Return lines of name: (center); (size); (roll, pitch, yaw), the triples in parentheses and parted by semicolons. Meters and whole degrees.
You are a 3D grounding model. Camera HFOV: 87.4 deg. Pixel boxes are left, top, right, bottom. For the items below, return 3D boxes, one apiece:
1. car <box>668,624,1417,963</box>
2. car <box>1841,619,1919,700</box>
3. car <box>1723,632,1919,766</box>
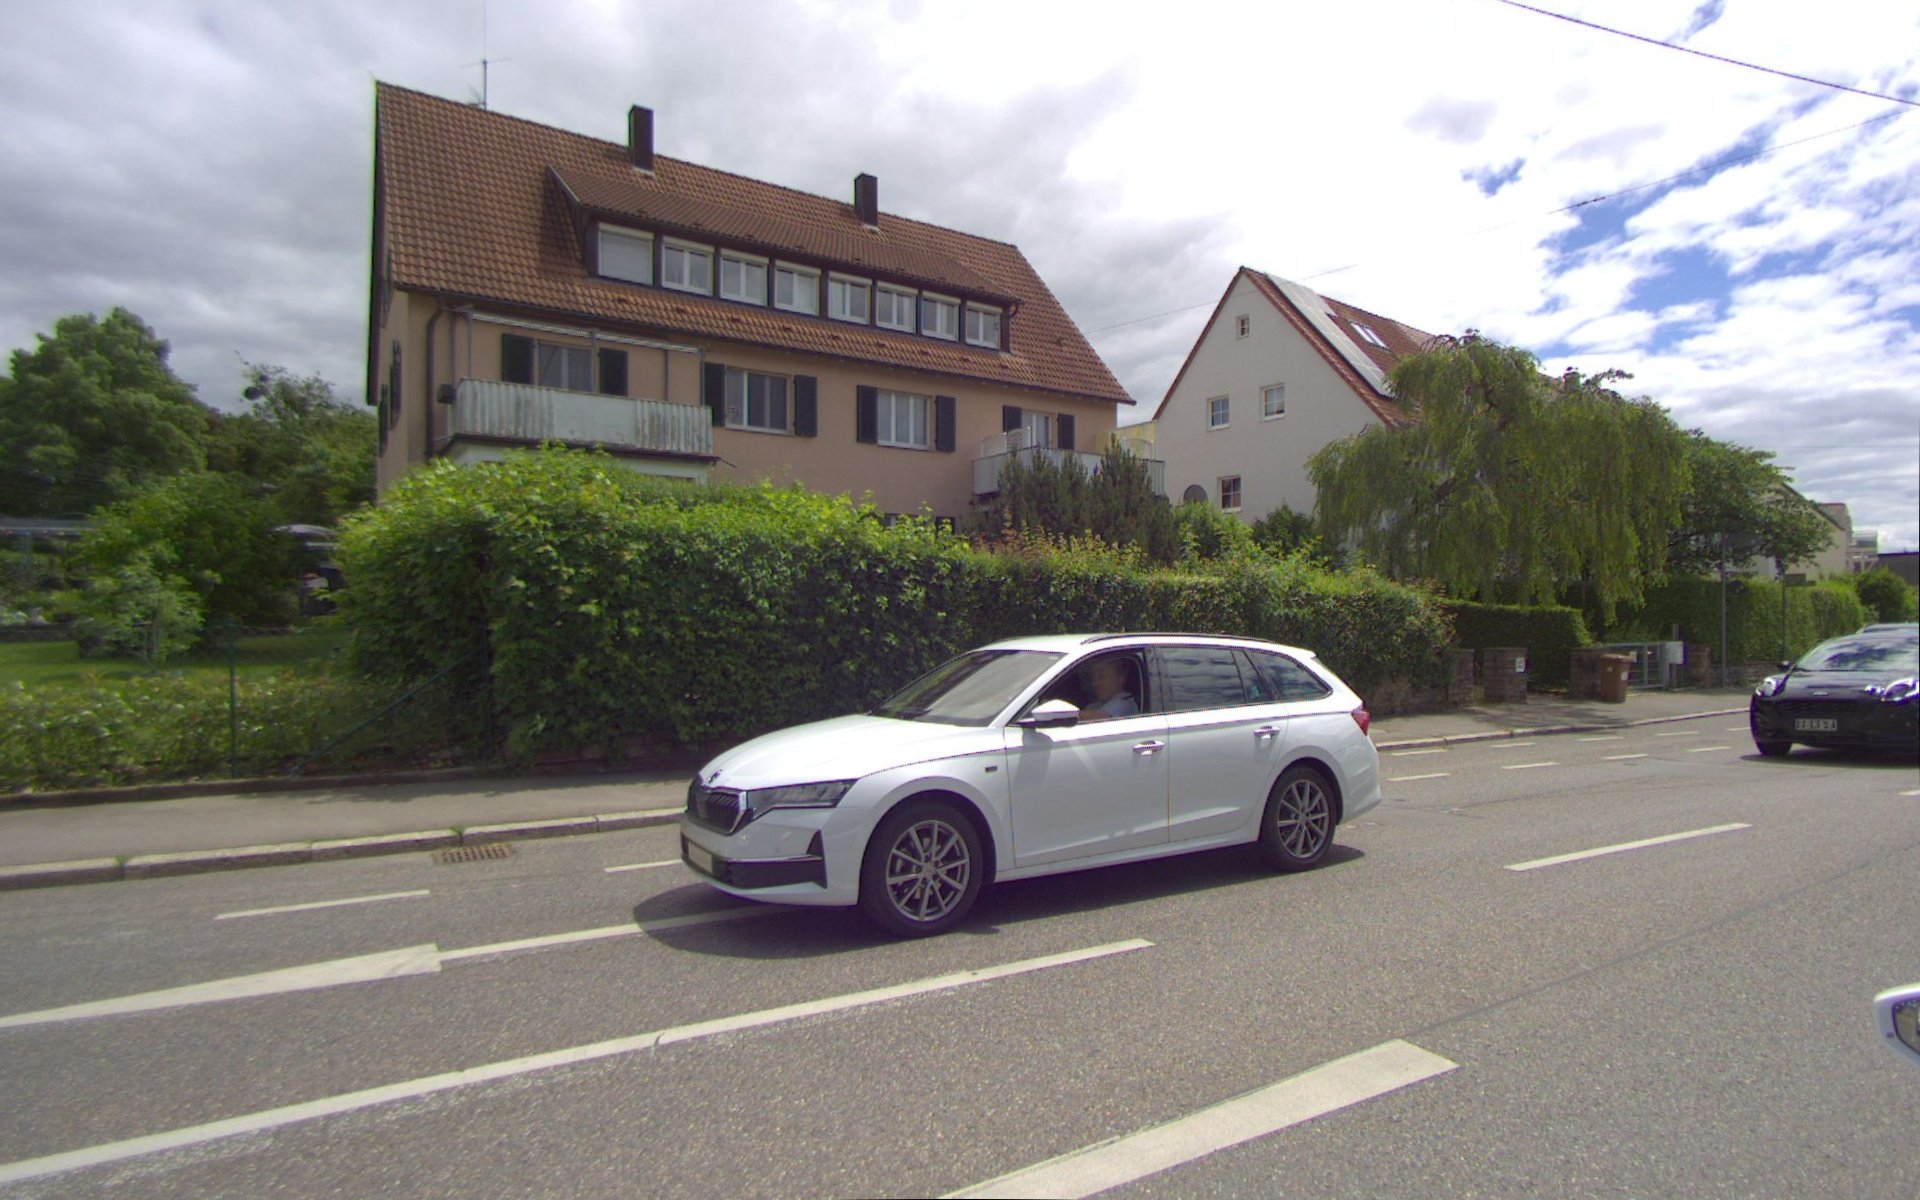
car: (0.653, 0.923, 6.260); (4.471, 1.448, 1.766); (1, -4, -31)
car: (23.454, 1.444, 24.794); (3.971, 1.870, 1.762); (2, -3, -37)
car: (11.610, 1.164, 12.685); (3.963, 1.448, 1.767); (1, -4, -31)
